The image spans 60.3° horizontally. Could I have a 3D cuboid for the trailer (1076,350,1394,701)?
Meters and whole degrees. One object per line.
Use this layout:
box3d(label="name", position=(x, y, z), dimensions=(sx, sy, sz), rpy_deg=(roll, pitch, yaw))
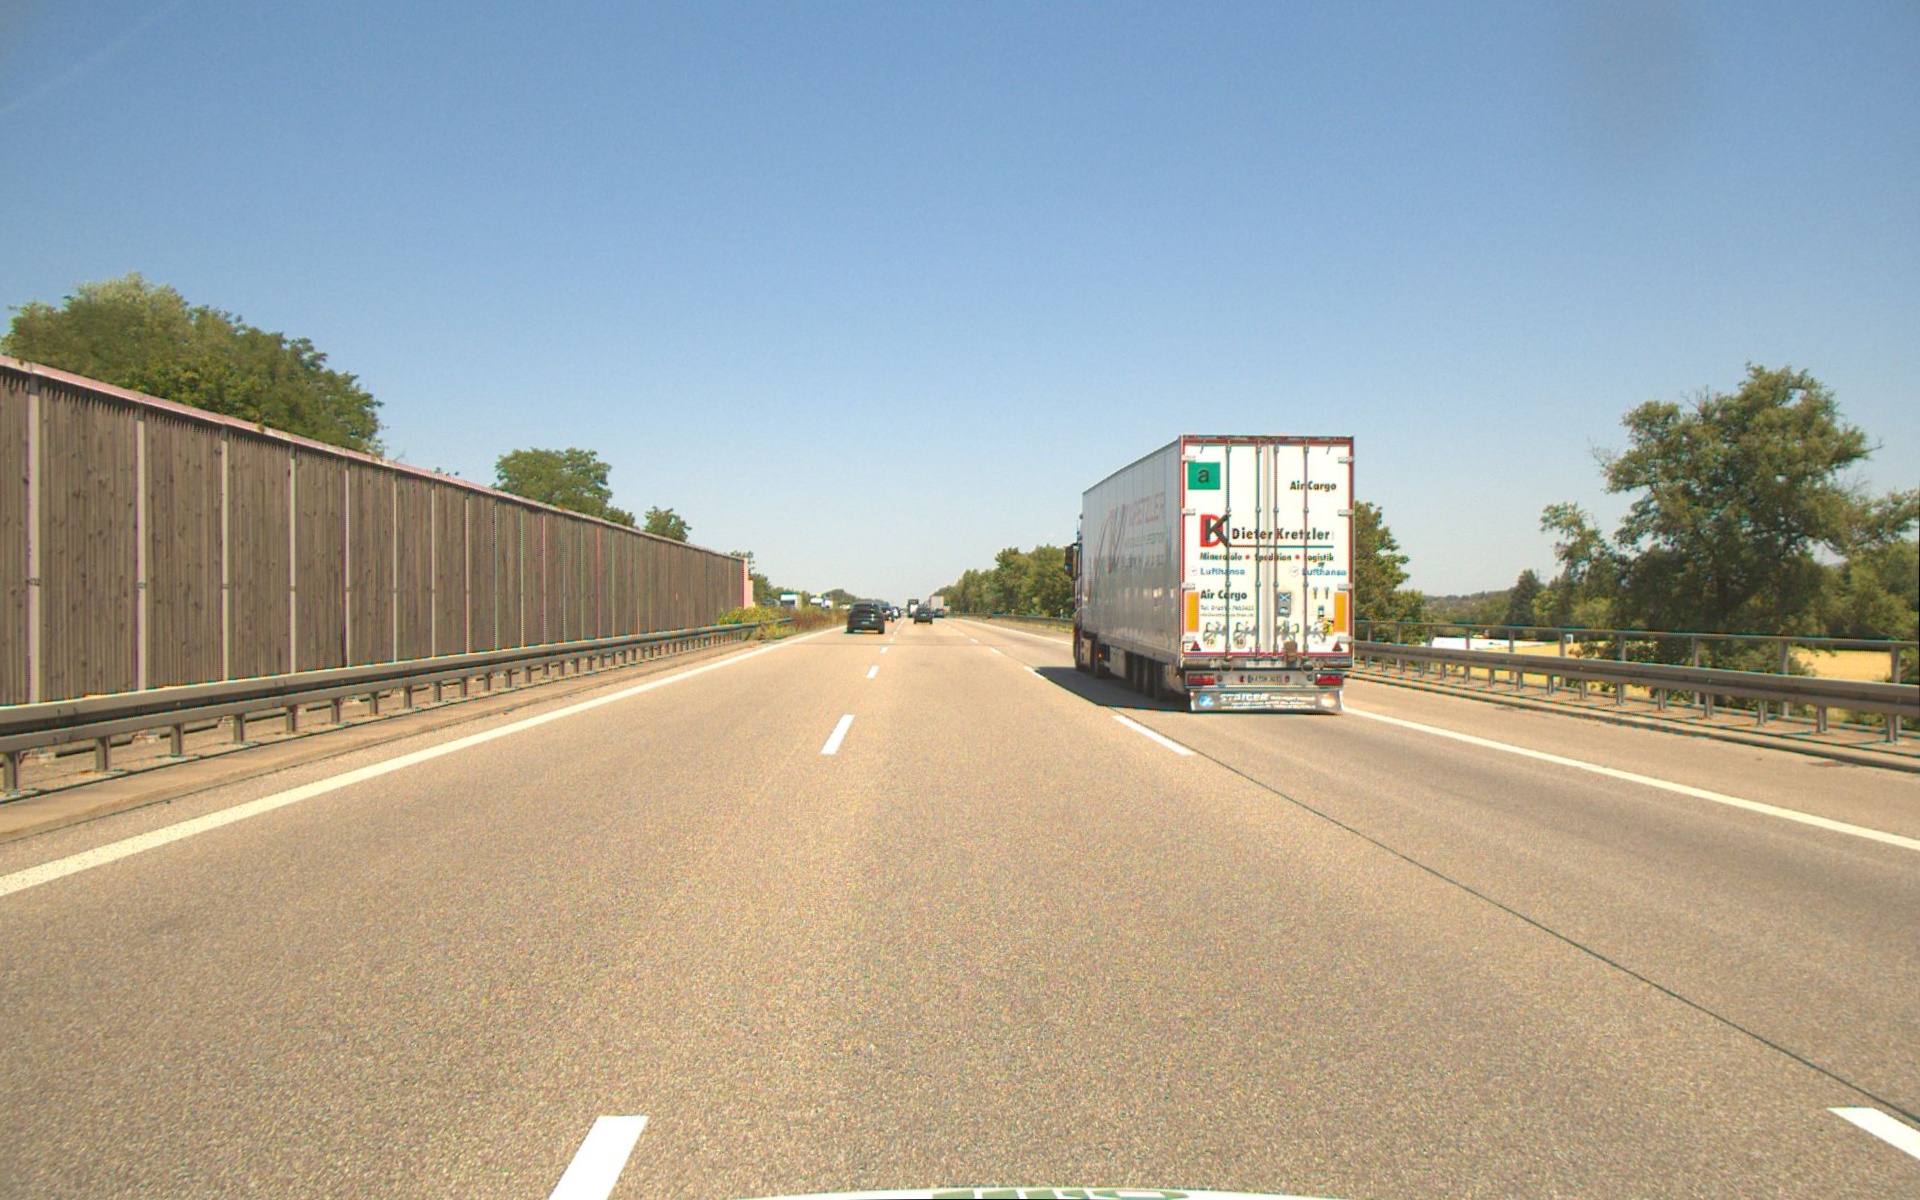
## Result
box3d(label="trailer", position=(4.386, -1.086, 30.368), dimensions=(3.203, 4.922, 14.025), rpy_deg=(0, 0, -1))

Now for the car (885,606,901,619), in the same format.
box3d(label="car", position=(-8.854, 1.696, 219.202), dimensions=(2.085, 1.674, 4.303), rpy_deg=(-1, -1, -1))

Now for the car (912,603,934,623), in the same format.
box3d(label="car", position=(-3.225, 1.138, 144.138), dimensions=(1.864, 1.612, 4.303), rpy_deg=(-1, -1, -1))

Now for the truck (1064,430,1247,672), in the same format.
box3d(label="truck", position=(4.264, -1.031, 37.607), dimensions=(3.168, 4.974, 6.970), rpy_deg=(0, 0, -1))

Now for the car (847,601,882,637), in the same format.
box3d(label="car", position=(-5.035, 0.968, 87.566), dimensions=(1.842, 1.823, 3.998), rpy_deg=(0, 0, -3))

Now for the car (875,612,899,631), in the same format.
box3d(label="car", position=(-6.918, 2.036, 156.798), dimensions=(2.085, 1.674, 4.303), rpy_deg=(-1, -1, -1))
